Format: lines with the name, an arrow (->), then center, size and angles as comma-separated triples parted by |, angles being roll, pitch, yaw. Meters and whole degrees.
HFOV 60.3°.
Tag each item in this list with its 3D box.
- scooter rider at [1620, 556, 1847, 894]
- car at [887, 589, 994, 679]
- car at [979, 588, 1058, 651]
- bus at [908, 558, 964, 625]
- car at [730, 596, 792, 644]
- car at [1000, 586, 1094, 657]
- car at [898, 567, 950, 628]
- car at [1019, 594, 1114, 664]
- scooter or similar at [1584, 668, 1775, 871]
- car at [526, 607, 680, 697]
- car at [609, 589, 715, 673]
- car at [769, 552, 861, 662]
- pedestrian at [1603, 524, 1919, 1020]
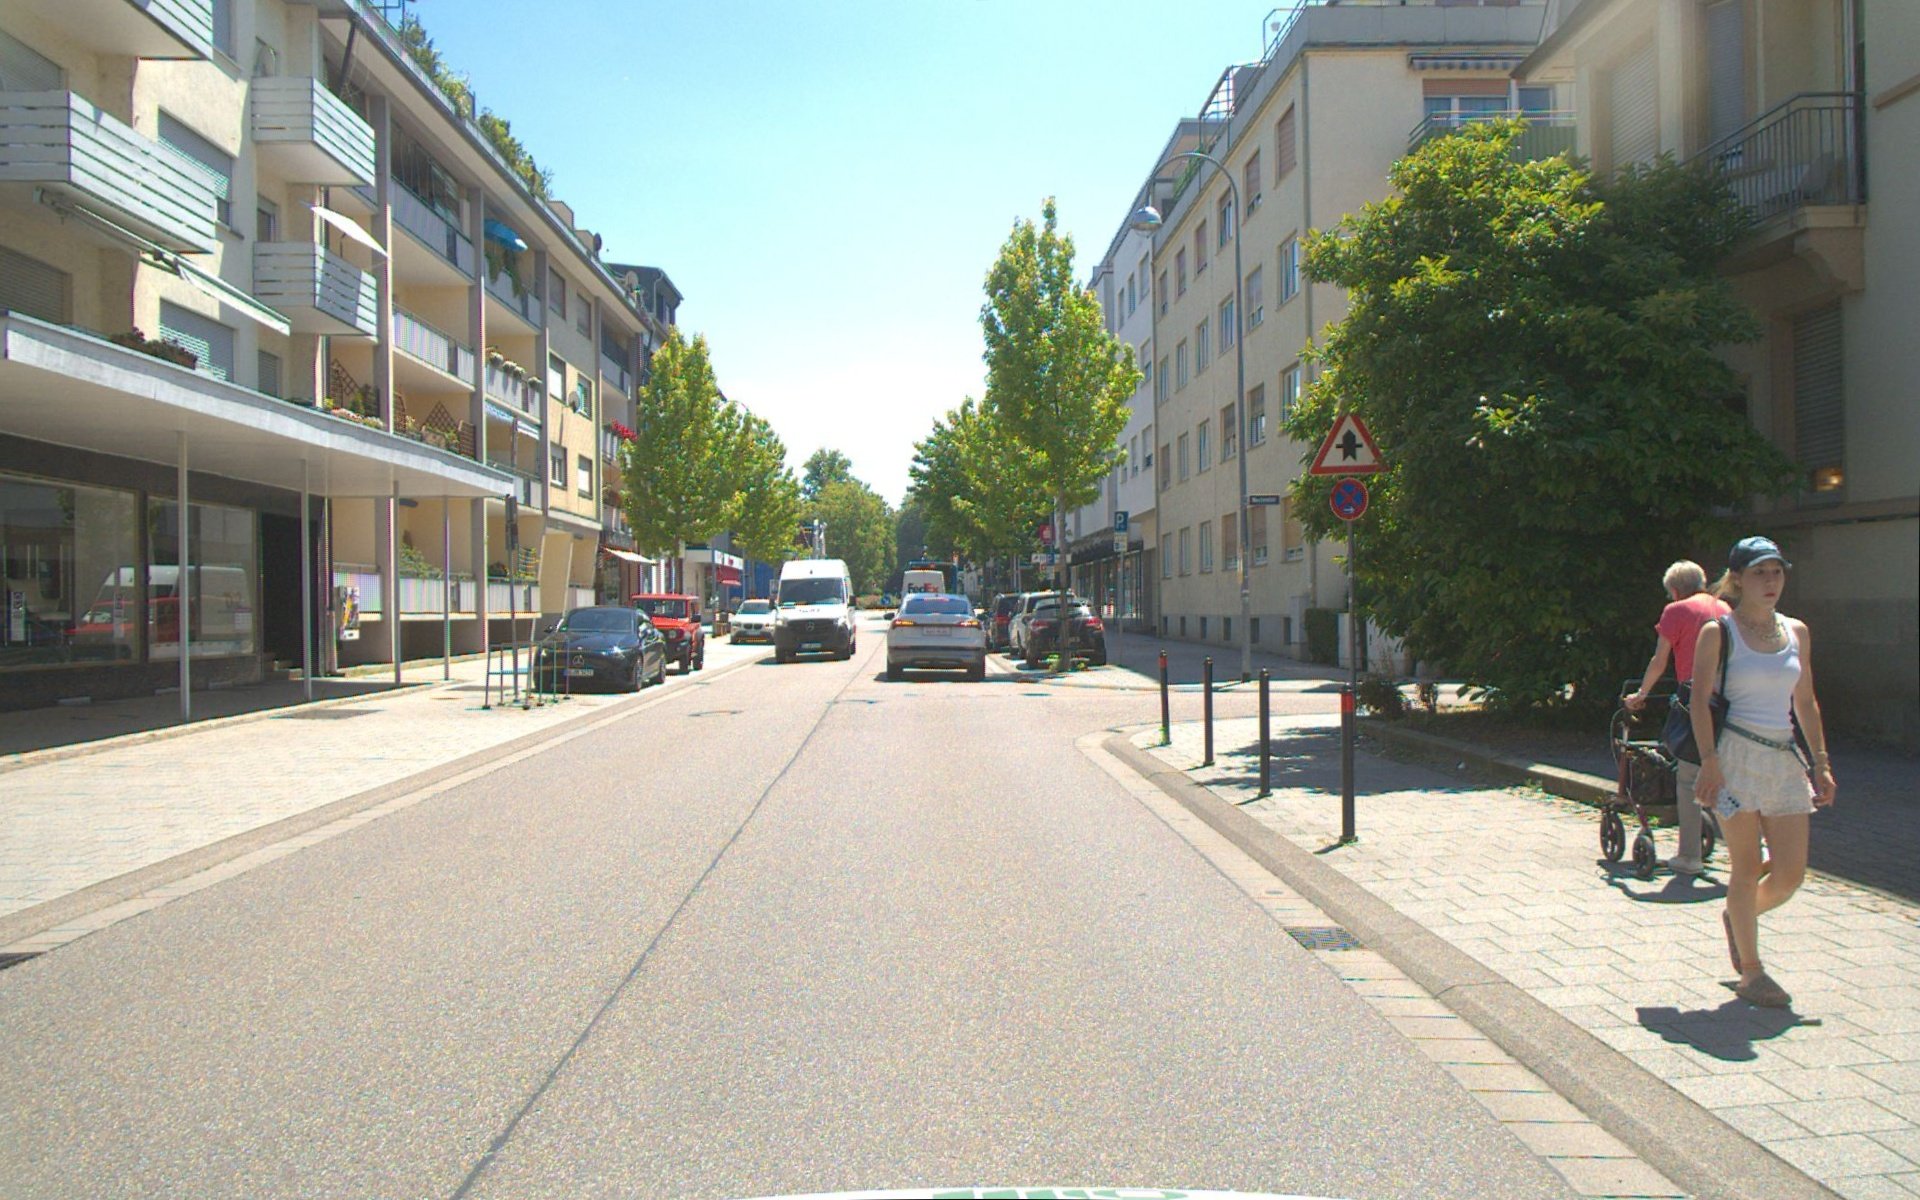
scooter rider -> 3.825, 0.588, 8.232 | 0.702, 1.576, 0.770 | -2, 0, -4
car -> -0.454, 0.631, 32.608 | 1.954, 1.661, 3.998 | 1, 0, -3
car -> 1.677, 0.546, 49.225 | 1.819, 1.704, 4.533 | -3, 0, -4
bus -> -1.170, -0.396, 85.095 | 2.606, 3.278, 7.301 | 1, 0, 1
car -> -7.196, 0.708, 60.058 | 1.717, 1.646, 4.400 | 1, 0, 0
car -> 2.245, 0.527, 43.898 | 1.859, 1.704, 4.687 | -3, 0, -4
car -> -1.548, -0.087, 71.164 | 2.112, 2.484, 5.282 | 1, 0, -1
car -> 2.371, 0.621, 37.758 | 1.857, 1.463, 4.544 | -1, 0, 0
scooter or similar -> 3.821, 0.880, 8.828 | 0.650, 0.980, 0.753 | -2, 0, -2
car -> -6.413, 0.881, 30.290 | 1.858, 1.442, 5.045 | 1, 0, -2
car -> -6.552, 0.655, 36.762 | 1.717, 1.732, 4.099 | 1, 0, -2
car -> -3.840, 0.162, 44.991 | 1.995, 2.676, 7.104 | -3, 0, -2
pedestrian -> 2.919, 0.590, 6.075 | 0.686, 1.655, 0.783 | -4, 0, -3
